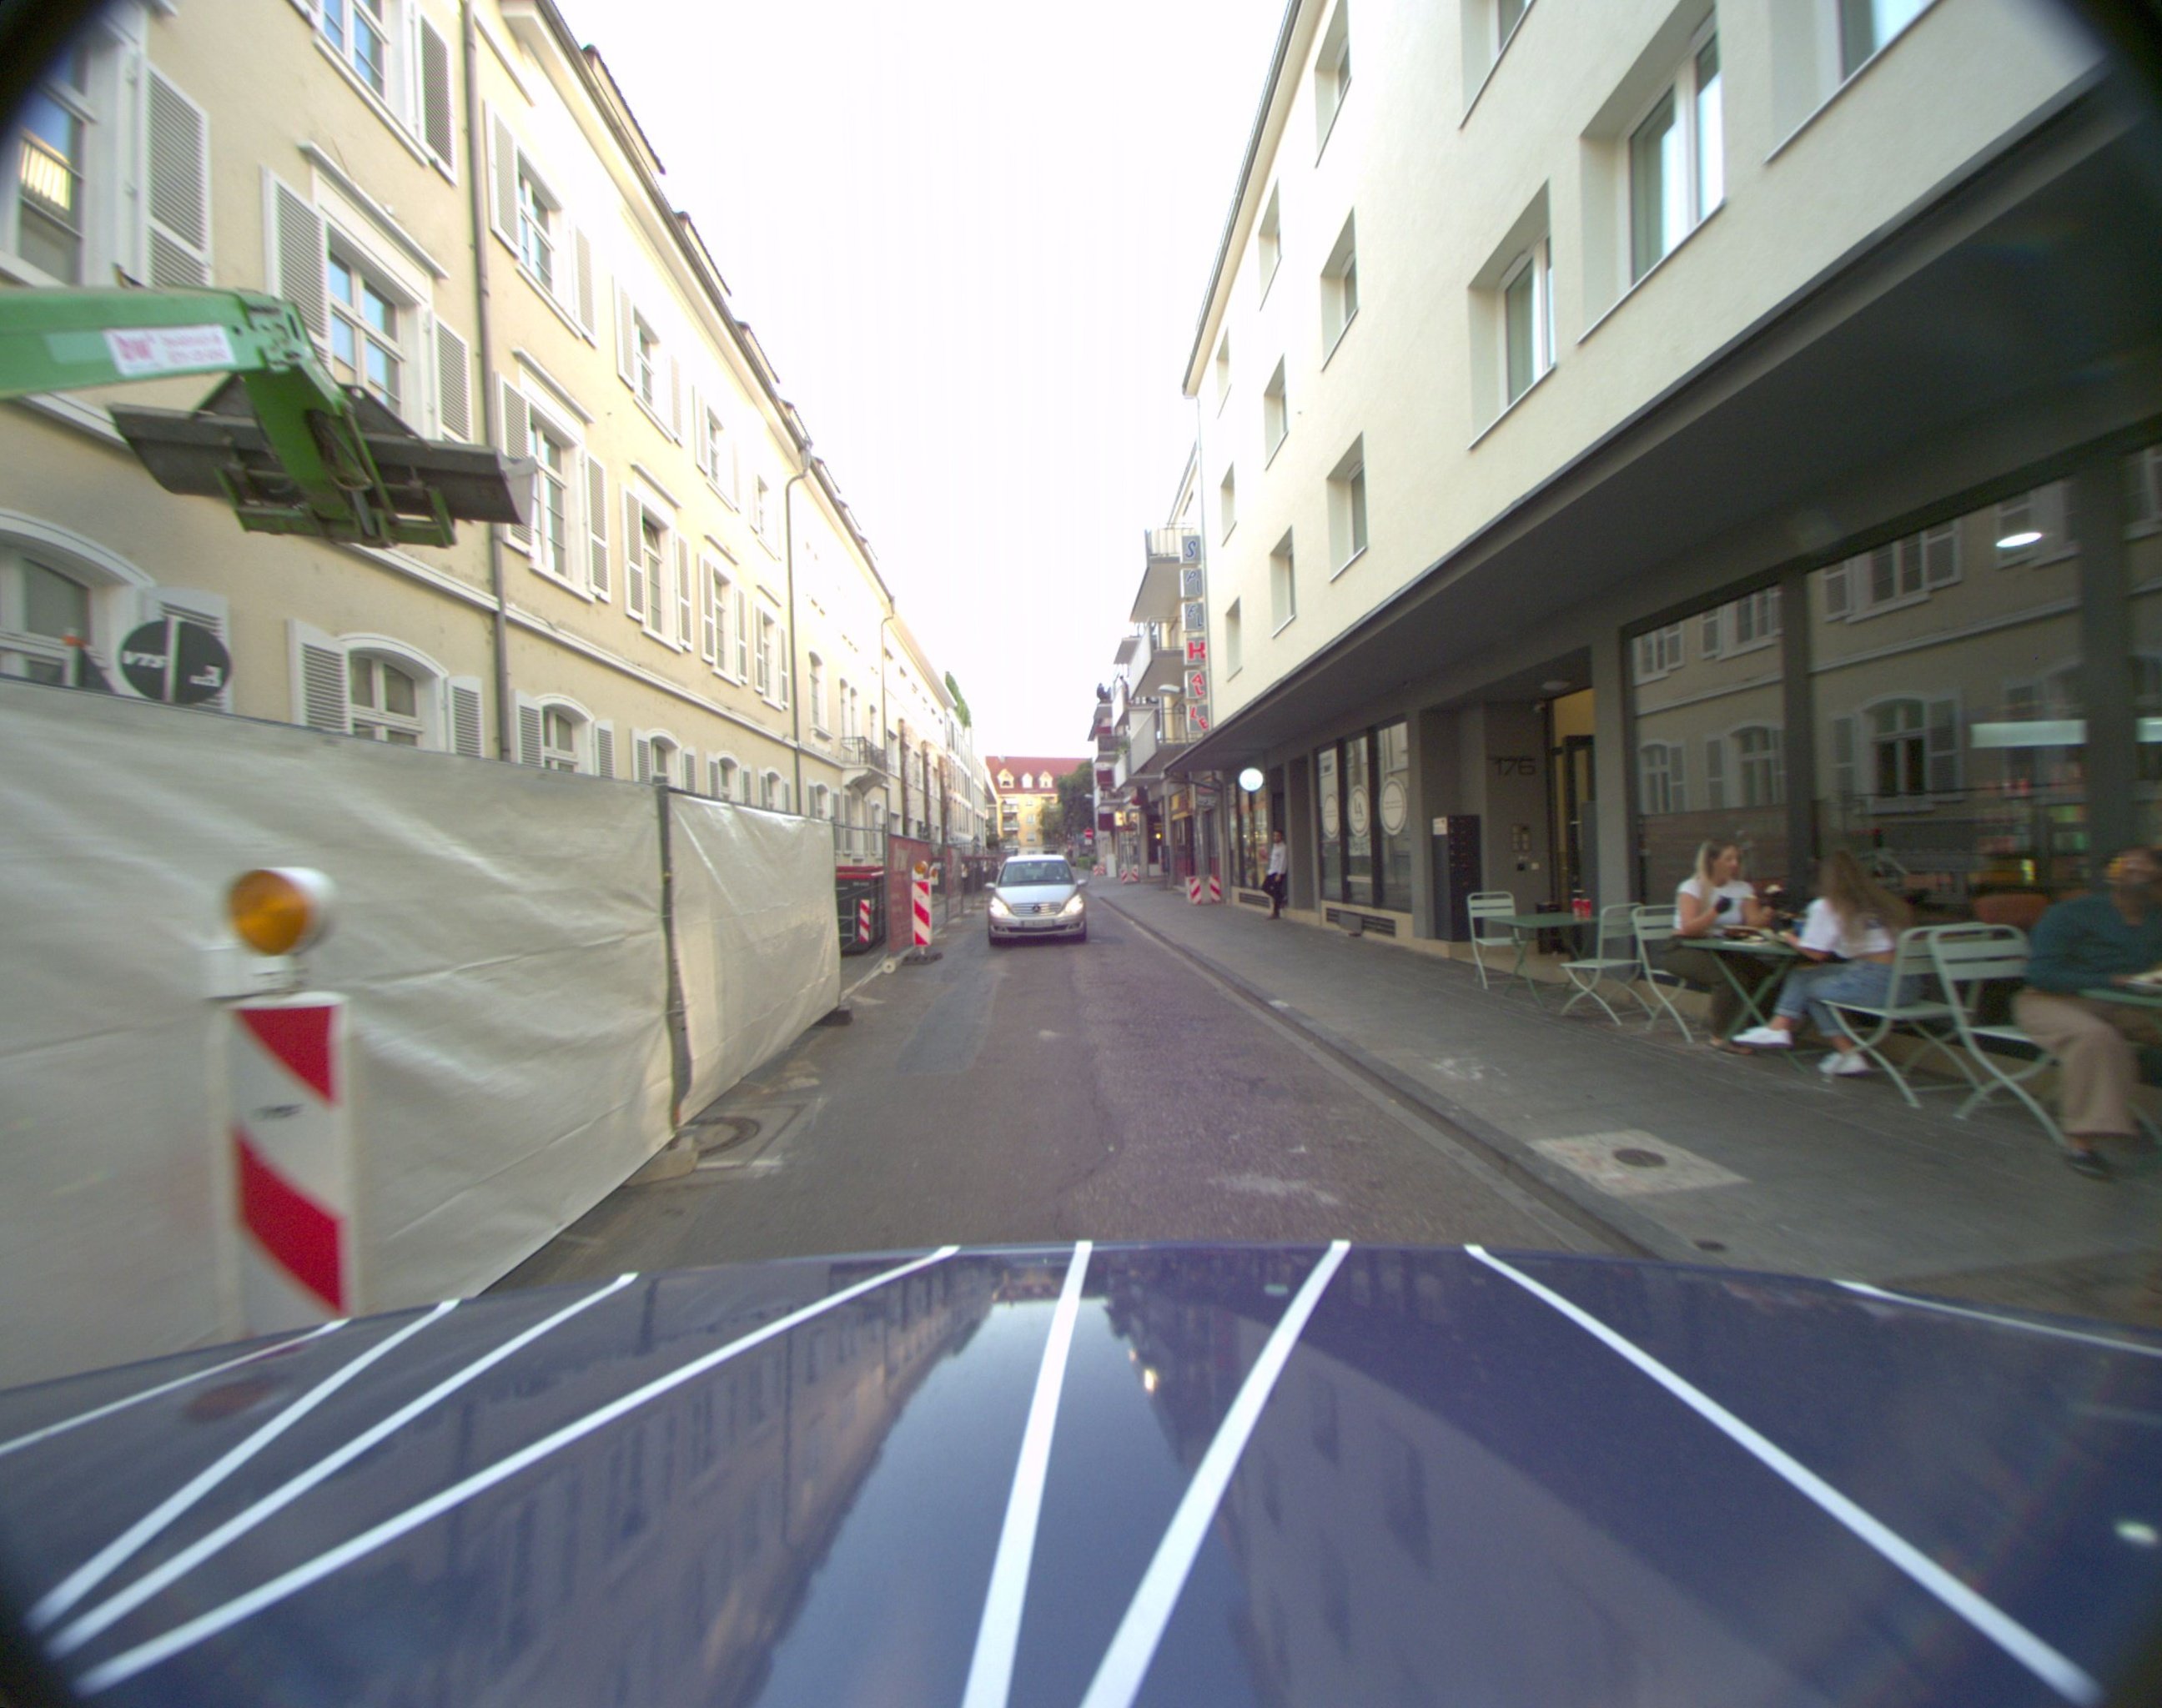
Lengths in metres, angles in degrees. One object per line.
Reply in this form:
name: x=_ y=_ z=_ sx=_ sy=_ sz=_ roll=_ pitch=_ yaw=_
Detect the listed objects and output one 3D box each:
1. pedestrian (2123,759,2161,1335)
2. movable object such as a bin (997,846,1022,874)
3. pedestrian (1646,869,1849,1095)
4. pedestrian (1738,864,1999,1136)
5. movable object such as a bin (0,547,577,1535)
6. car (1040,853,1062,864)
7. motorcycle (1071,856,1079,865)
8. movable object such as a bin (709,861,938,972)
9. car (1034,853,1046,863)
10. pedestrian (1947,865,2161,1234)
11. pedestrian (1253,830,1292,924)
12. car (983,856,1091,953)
pedestrian: x=3.495 y=0.537 z=1.793 sx=0.798 sy=1.658 sz=0.901 roll=-4 pitch=1 yaw=-5
movable object such as a bin: x=-7.172 y=0.590 z=76.650 sx=2.021 sy=2.608 sz=5.750 roll=-4 pitch=0 yaw=-2
pedestrian: x=4.153 y=0.752 z=4.786 sx=0.574 sy=1.268 sz=0.713 roll=-4 pitch=0 yaw=-3
pedestrian: x=4.130 y=0.712 z=4.038 sx=0.574 sy=1.268 sz=0.713 roll=-4 pitch=0 yaw=-3
movable object such as a bin: x=-4.419 y=0.550 z=2.493 sx=2.612 sy=2.822 sz=4.448 roll=-1 pitch=0 yaw=-3
car: x=-4.720 y=0.708 z=119.632 sx=1.830 sy=1.460 sz=4.319 roll=-1 pitch=2 yaw=-25
motorcycle: x=-0.807 y=0.909 z=108.828 sx=0.858 sy=1.345 sz=1.960 roll=-2 pitch=0 yaw=6
movable object such as a bin: x=-4.990 y=1.070 z=16.420 sx=2.743 sy=1.629 sz=7.549 roll=-3 pitch=0 yaw=-4
car: x=-5.853 y=0.527 z=108.822 sx=1.539 sy=1.317 sz=3.352 roll=-2 pitch=0 yaw=-3
pedestrian: x=4.160 y=0.703 z=2.960 sx=0.704 sy=1.268 sz=0.713 roll=-4 pitch=0 yaw=-3
pedestrian: x=3.842 y=0.453 z=15.267 sx=0.532 sy=1.824 sz=0.562 roll=-2 pitch=0 yaw=-9
car: x=-0.853 y=0.892 z=15.099 sx=1.805 sy=1.607 sz=4.272 roll=-1 pitch=-1 yaw=-3
